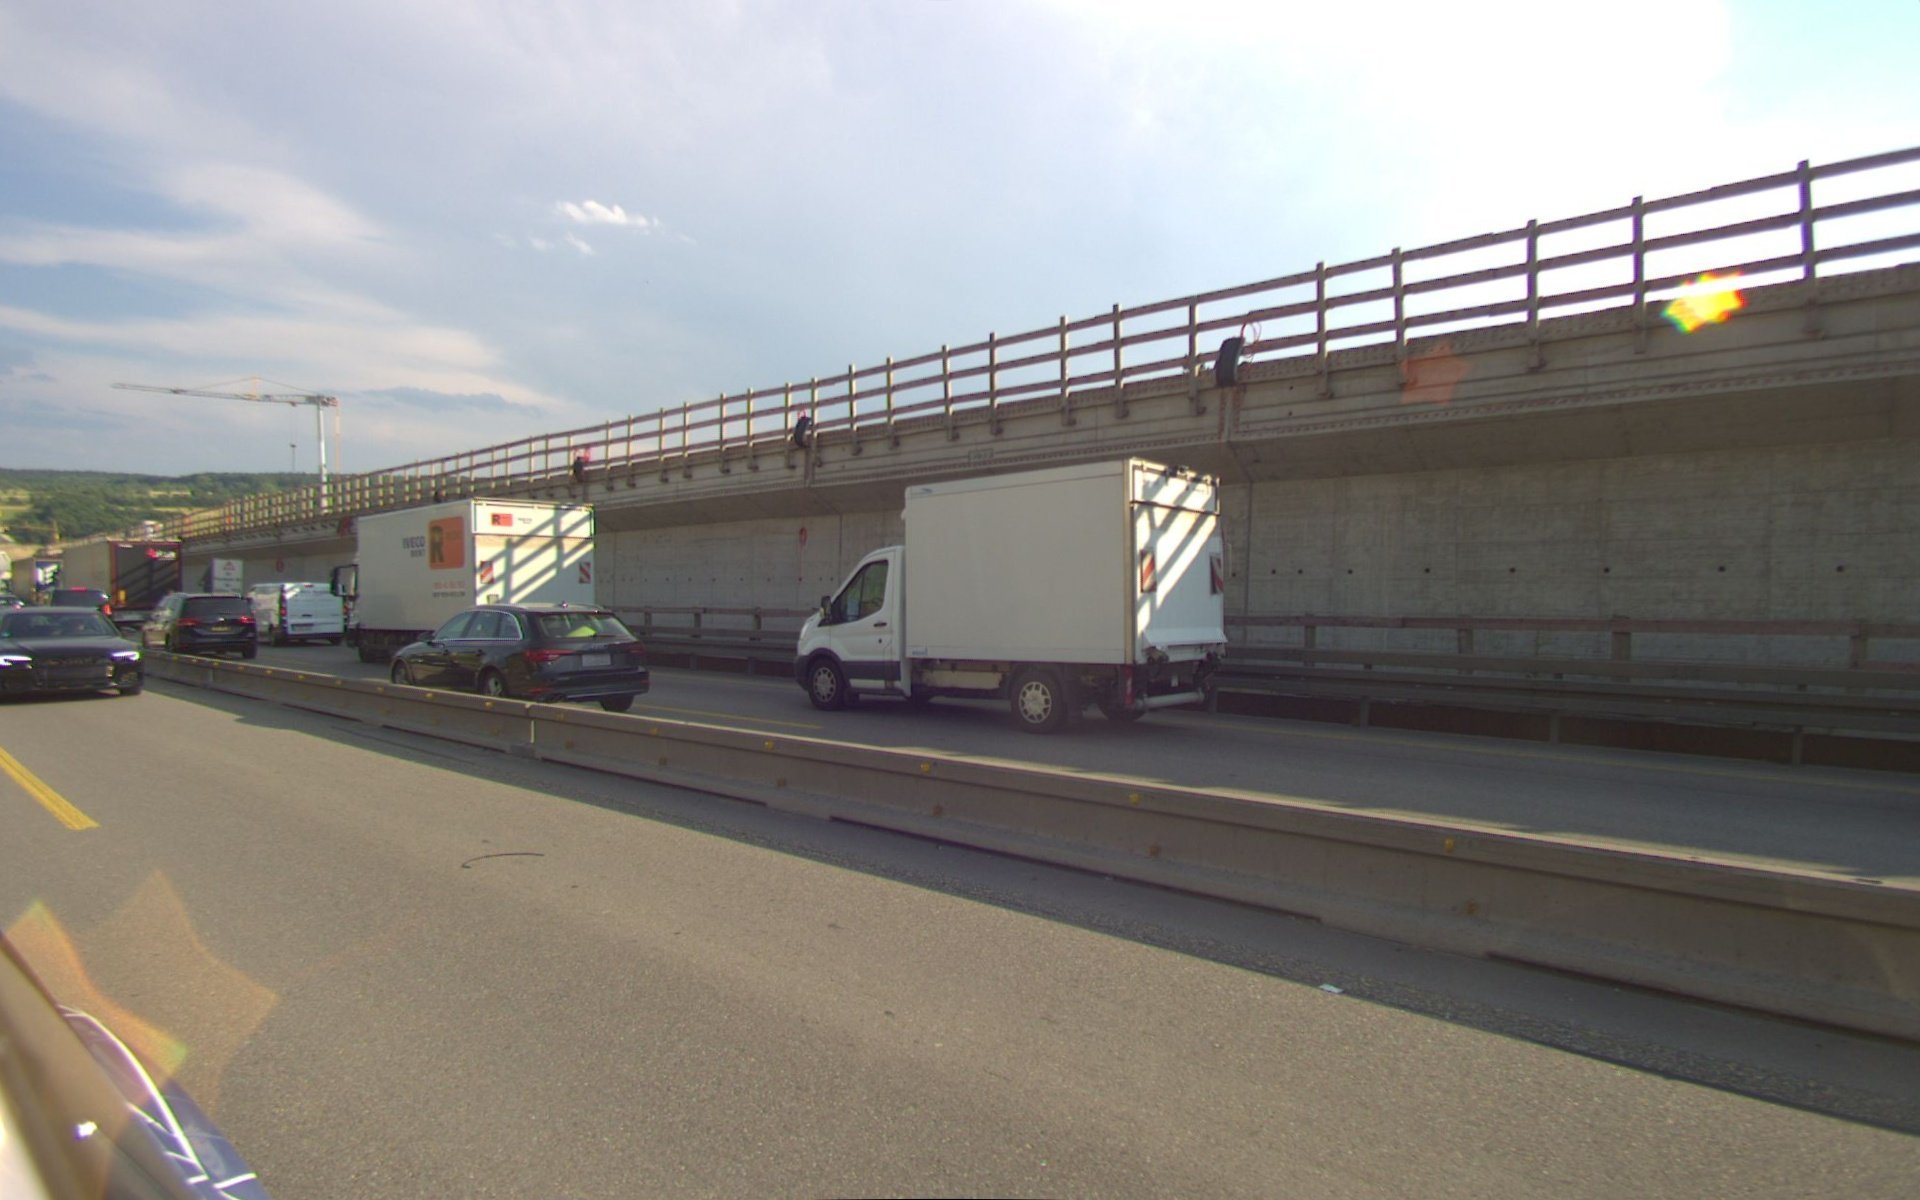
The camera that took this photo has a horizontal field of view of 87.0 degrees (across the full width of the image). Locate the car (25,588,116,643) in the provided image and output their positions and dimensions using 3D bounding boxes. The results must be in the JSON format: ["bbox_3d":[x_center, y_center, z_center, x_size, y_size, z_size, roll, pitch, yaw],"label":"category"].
[{"bbox_3d":[-34.291,0.567,38.963,5.289,1.936,1.964,0,2,42],"label":"car"}]

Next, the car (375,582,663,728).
[{"bbox_3d":[-5.992,0.581,13.482,4.556,1.607,1.723,1,2,41],"label":"car"}]

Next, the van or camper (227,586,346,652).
[{"bbox_3d":[-21.398,0.552,32.077,4.921,1.937,1.897,0,1,41],"label":"van or camper"}]

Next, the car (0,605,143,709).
[{"bbox_3d":[-15.068,0.841,16.670,4.348,1.430,1.848,1,1,42],"label":"car"}]

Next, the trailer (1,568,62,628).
[{"bbox_3d":[-67.557,-0.144,73.599,5.977,4.172,2.734,-1,1,43],"label":"trailer"}]

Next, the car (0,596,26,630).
[{"bbox_3d":[-54.474,0.718,57.432,5.141,1.785,1.802,1,2,43],"label":"car"}]

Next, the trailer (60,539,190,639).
[{"bbox_3d":[-40.781,-0.585,49.136,13.767,4.271,2.882,1,2,42],"label":"trailer"}]

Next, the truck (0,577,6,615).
[{"bbox_3d":[-88.480,-0.378,91.640,5.530,3.434,2.522,1,2,42],"label":"truck"}]

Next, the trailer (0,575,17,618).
[{"bbox_3d":[-83.716,-0.349,87.361,10.680,3.553,2.529,1,2,43],"label":"trailer"}]

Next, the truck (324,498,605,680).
[{"bbox_3d":[-11.420,-0.205,22.855,8.137,3.450,2.686,1,-1,41],"label":"truck"}]

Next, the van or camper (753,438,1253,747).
[{"bbox_3d":[0.255,-0.098,12.781,6.220,3.011,2.296,1,0,41],"label":"van or camper"}]

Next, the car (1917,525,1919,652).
[{"bbox_3d":[3.360,0.576,0.377,4.270,1.600,1.663,-1,-2,42],"label":"car"}]

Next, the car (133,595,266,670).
[{"bbox_3d":[-19.566,0.751,25.947,4.687,1.657,1.813,1,2,42],"label":"car"}]

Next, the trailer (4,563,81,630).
[{"bbox_3d":[-62.690,-0.194,68.991,14.027,4.172,2.734,-1,1,44],"label":"trailer"}]
